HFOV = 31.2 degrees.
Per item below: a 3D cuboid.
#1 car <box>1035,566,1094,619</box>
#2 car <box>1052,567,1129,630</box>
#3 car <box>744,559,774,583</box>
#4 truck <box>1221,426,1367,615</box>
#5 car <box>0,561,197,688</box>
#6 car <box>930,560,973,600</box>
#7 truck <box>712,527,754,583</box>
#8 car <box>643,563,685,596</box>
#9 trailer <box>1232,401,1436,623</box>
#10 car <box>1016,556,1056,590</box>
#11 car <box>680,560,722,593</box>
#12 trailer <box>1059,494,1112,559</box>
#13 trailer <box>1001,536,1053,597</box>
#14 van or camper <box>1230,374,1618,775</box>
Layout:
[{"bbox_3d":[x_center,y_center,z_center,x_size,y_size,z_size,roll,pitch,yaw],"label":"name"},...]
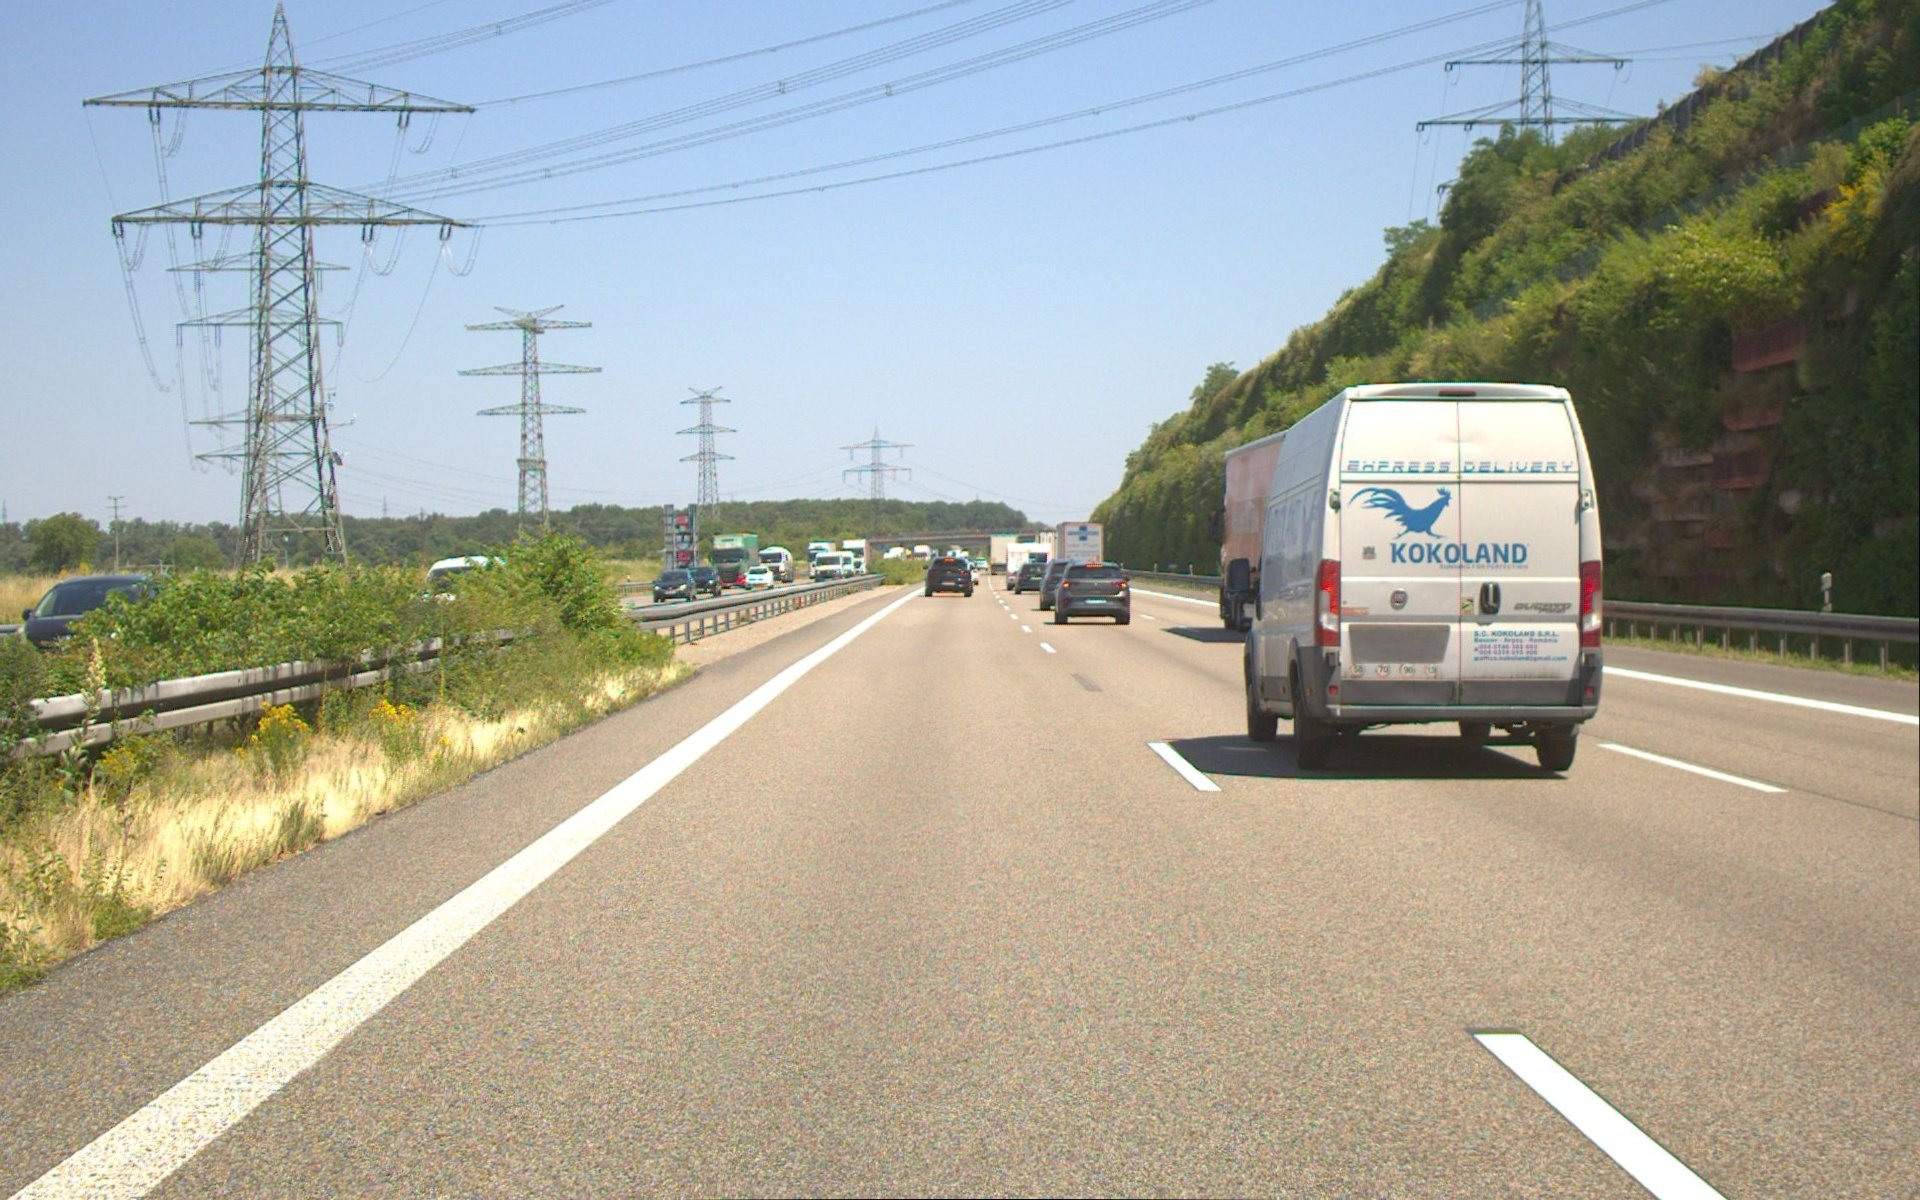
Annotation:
[{"bbox_3d":[3.305,-0.246,109.556,1.794,1.647,4.138,0,1,1],"label":"car"},{"bbox_3d":[3.237,-0.061,85.781,1.749,1.520,3.995,0,1,0],"label":"car"},{"bbox_3d":[-13.759,-1.996,235.422,1.707,1.518,4.514,-3,1,0],"label":"car"},{"bbox_3d":[7.295,-1.720,75.778,2.618,3.979,6.526,0,1,0],"label":"truck"},{"bbox_3d":[-12.754,0.319,50.938,1.788,1.759,5.017,-1,1,-1],"label":"car"},{"bbox_3d":[-0.352,-0.862,148.846,1.830,1.665,4.000,-1,1,0],"label":"car"},{"bbox_3d":[-17.123,-3.424,259.845,2.699,4.120,6.581,-1,1,0],"label":"truck"},{"bbox_3d":[-13.997,-0.970,162.637,1.617,1.455,4.284,-4,1,-1],"label":"car"},{"bbox_3d":[7.278,-1.669,68.712,2.645,3.991,13.606,0,1,0],"label":"trailer"},{"bbox_3d":[3.570,-1.285,161.511,1.830,1.520,4.000,-1,1,1],"label":"car"},{"bbox_3d":[-14.034,-1.281,186.281,1.840,1.624,4.414,-3,1,0],"label":"car"},{"bbox_3d":[8.225,-4.806,226.768,3.183,4.107,13.431,-1,1,1],"label":"trailer"},{"bbox_3d":[3.594,-1.817,185.525,2.610,3.202,9.953,-1,1,0],"label":"trailer"},{"bbox_3d":[3.452,-0.221,26.984,2.096,2.759,6.757,0,1,0],"label":"van or camper"}]
